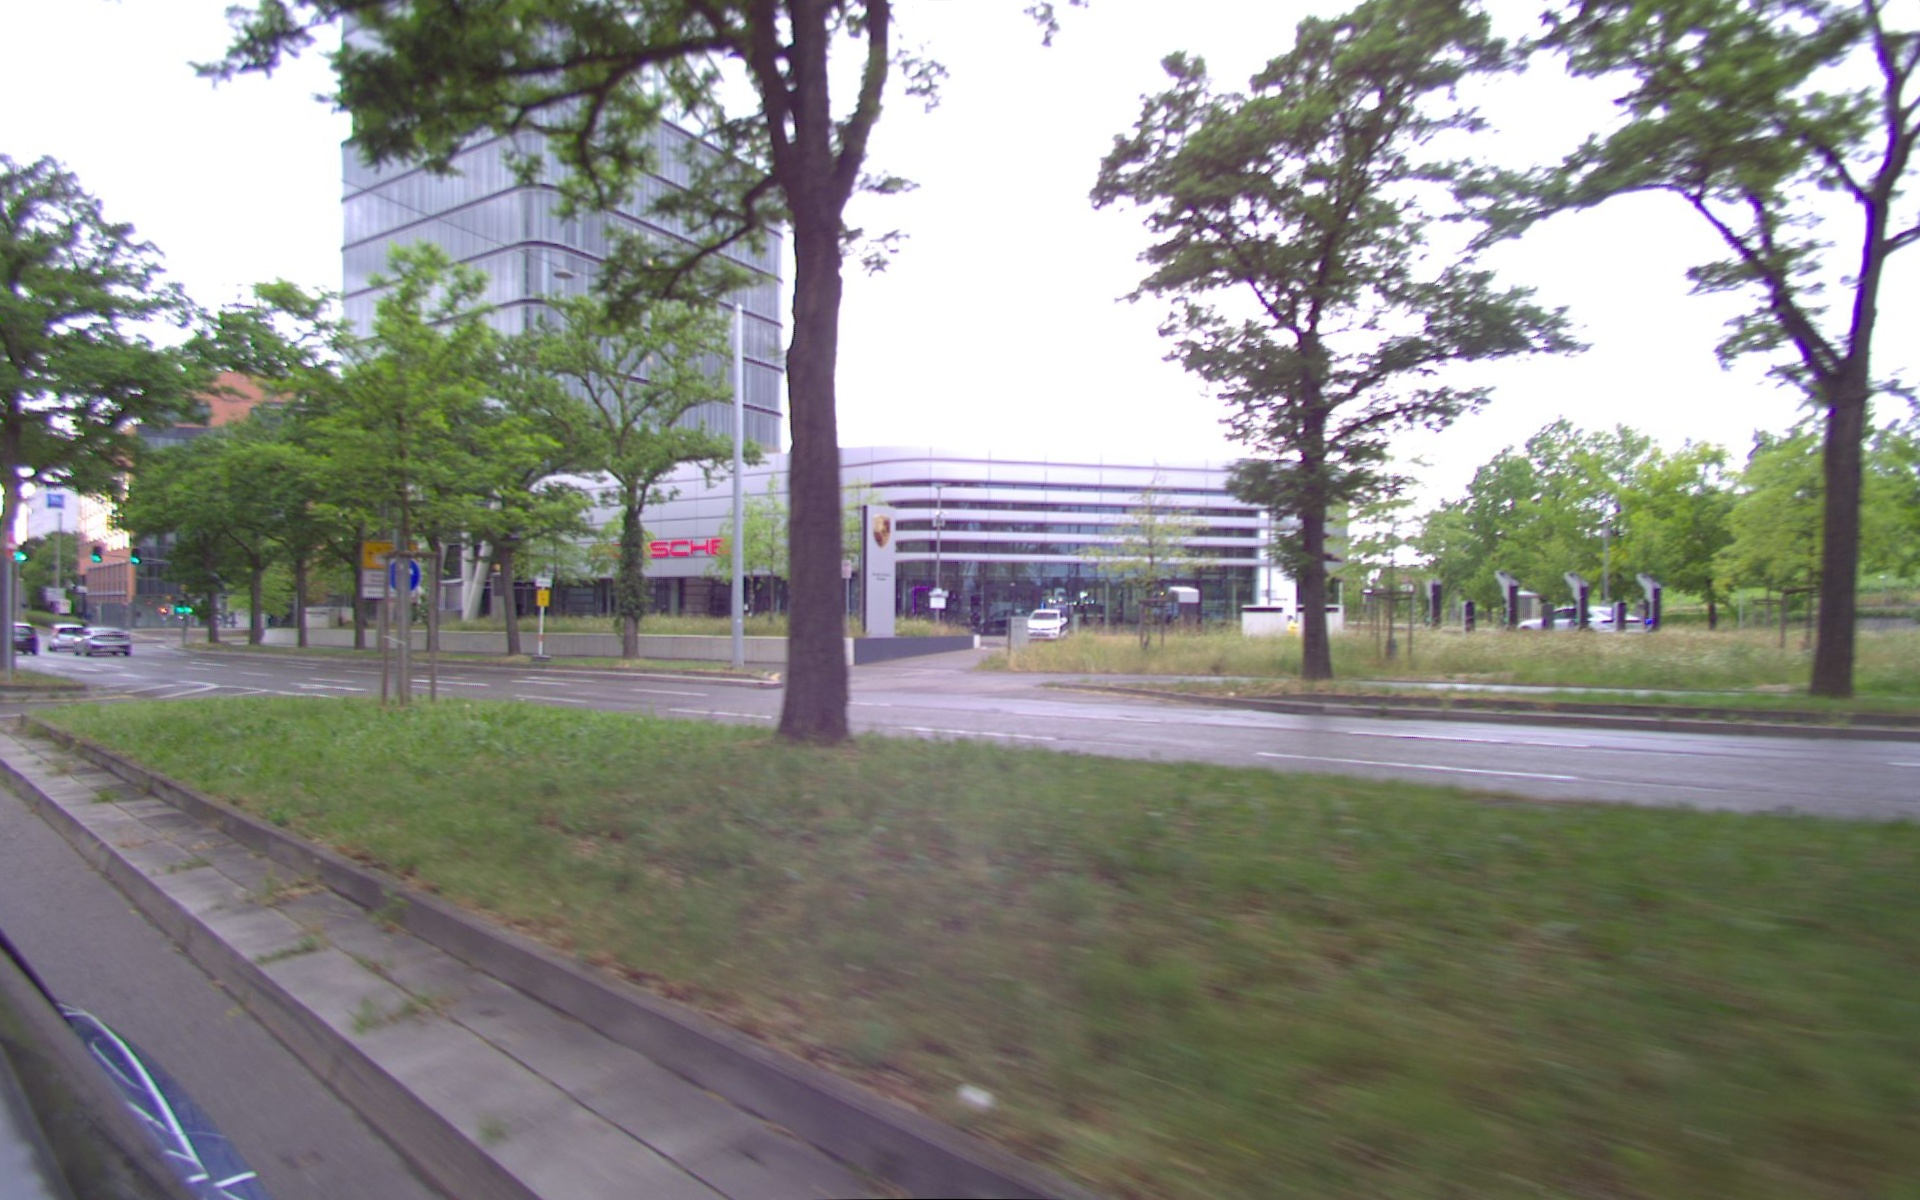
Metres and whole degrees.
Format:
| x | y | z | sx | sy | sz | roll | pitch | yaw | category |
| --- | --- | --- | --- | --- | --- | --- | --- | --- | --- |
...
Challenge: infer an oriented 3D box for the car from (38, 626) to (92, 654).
| x | y | z | sx | sy | sz | roll | pitch | yaw | category |
| --- | --- | --- | --- | --- | --- | --- | --- | --- | --- |
| -52.960 | 2.346 | 59.871 | 3.997 | 1.464 | 1.761 | -1 | 1 | 40 | car |

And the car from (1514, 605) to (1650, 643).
| x | y | z | sx | sy | sz | roll | pitch | yaw | category |
| --- | --- | --- | --- | --- | --- | --- | --- | --- | --- |
| 22.952 | 0.848 | 37.494 | 1.592 | 1.254 | 4.013 | -2 | 1 | -28 | car |

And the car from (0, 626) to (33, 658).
| x | y | z | sx | sy | sz | roll | pitch | yaw | category |
| --- | --- | --- | --- | --- | --- | --- | --- | --- | --- |
| -50.180 | 2.184 | 53.017 | 4.170 | 1.602 | 1.823 | -1 | -1 | 40 | car |

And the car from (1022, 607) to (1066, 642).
| x | y | z | sx | sy | sz | roll | pitch | yaw | category |
| --- | --- | --- | --- | --- | --- | --- | --- | --- | --- |
| 4.010 | 1.117 | 47.736 | 1.758 | 1.423 | 3.990 | -1 | 1 | 9 | car |

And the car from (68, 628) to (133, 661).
| x | y | z | sx | sy | sz | roll | pitch | yaw | category |
| --- | --- | --- | --- | --- | --- | --- | --- | --- | --- |
| -44.050 | 2.237 | 51.829 | 3.997 | 1.464 | 1.870 | -1 | 1 | 40 | car |

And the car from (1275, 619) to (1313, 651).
| x | y | z | sx | sy | sz | roll | pitch | yaw | category |
| --- | --- | --- | --- | --- | --- | --- | --- | --- | --- |
| 16.515 | 1.700 | 50.172 | 1.606 | 1.333 | 3.979 | -1 | 1 | 16 | car |
